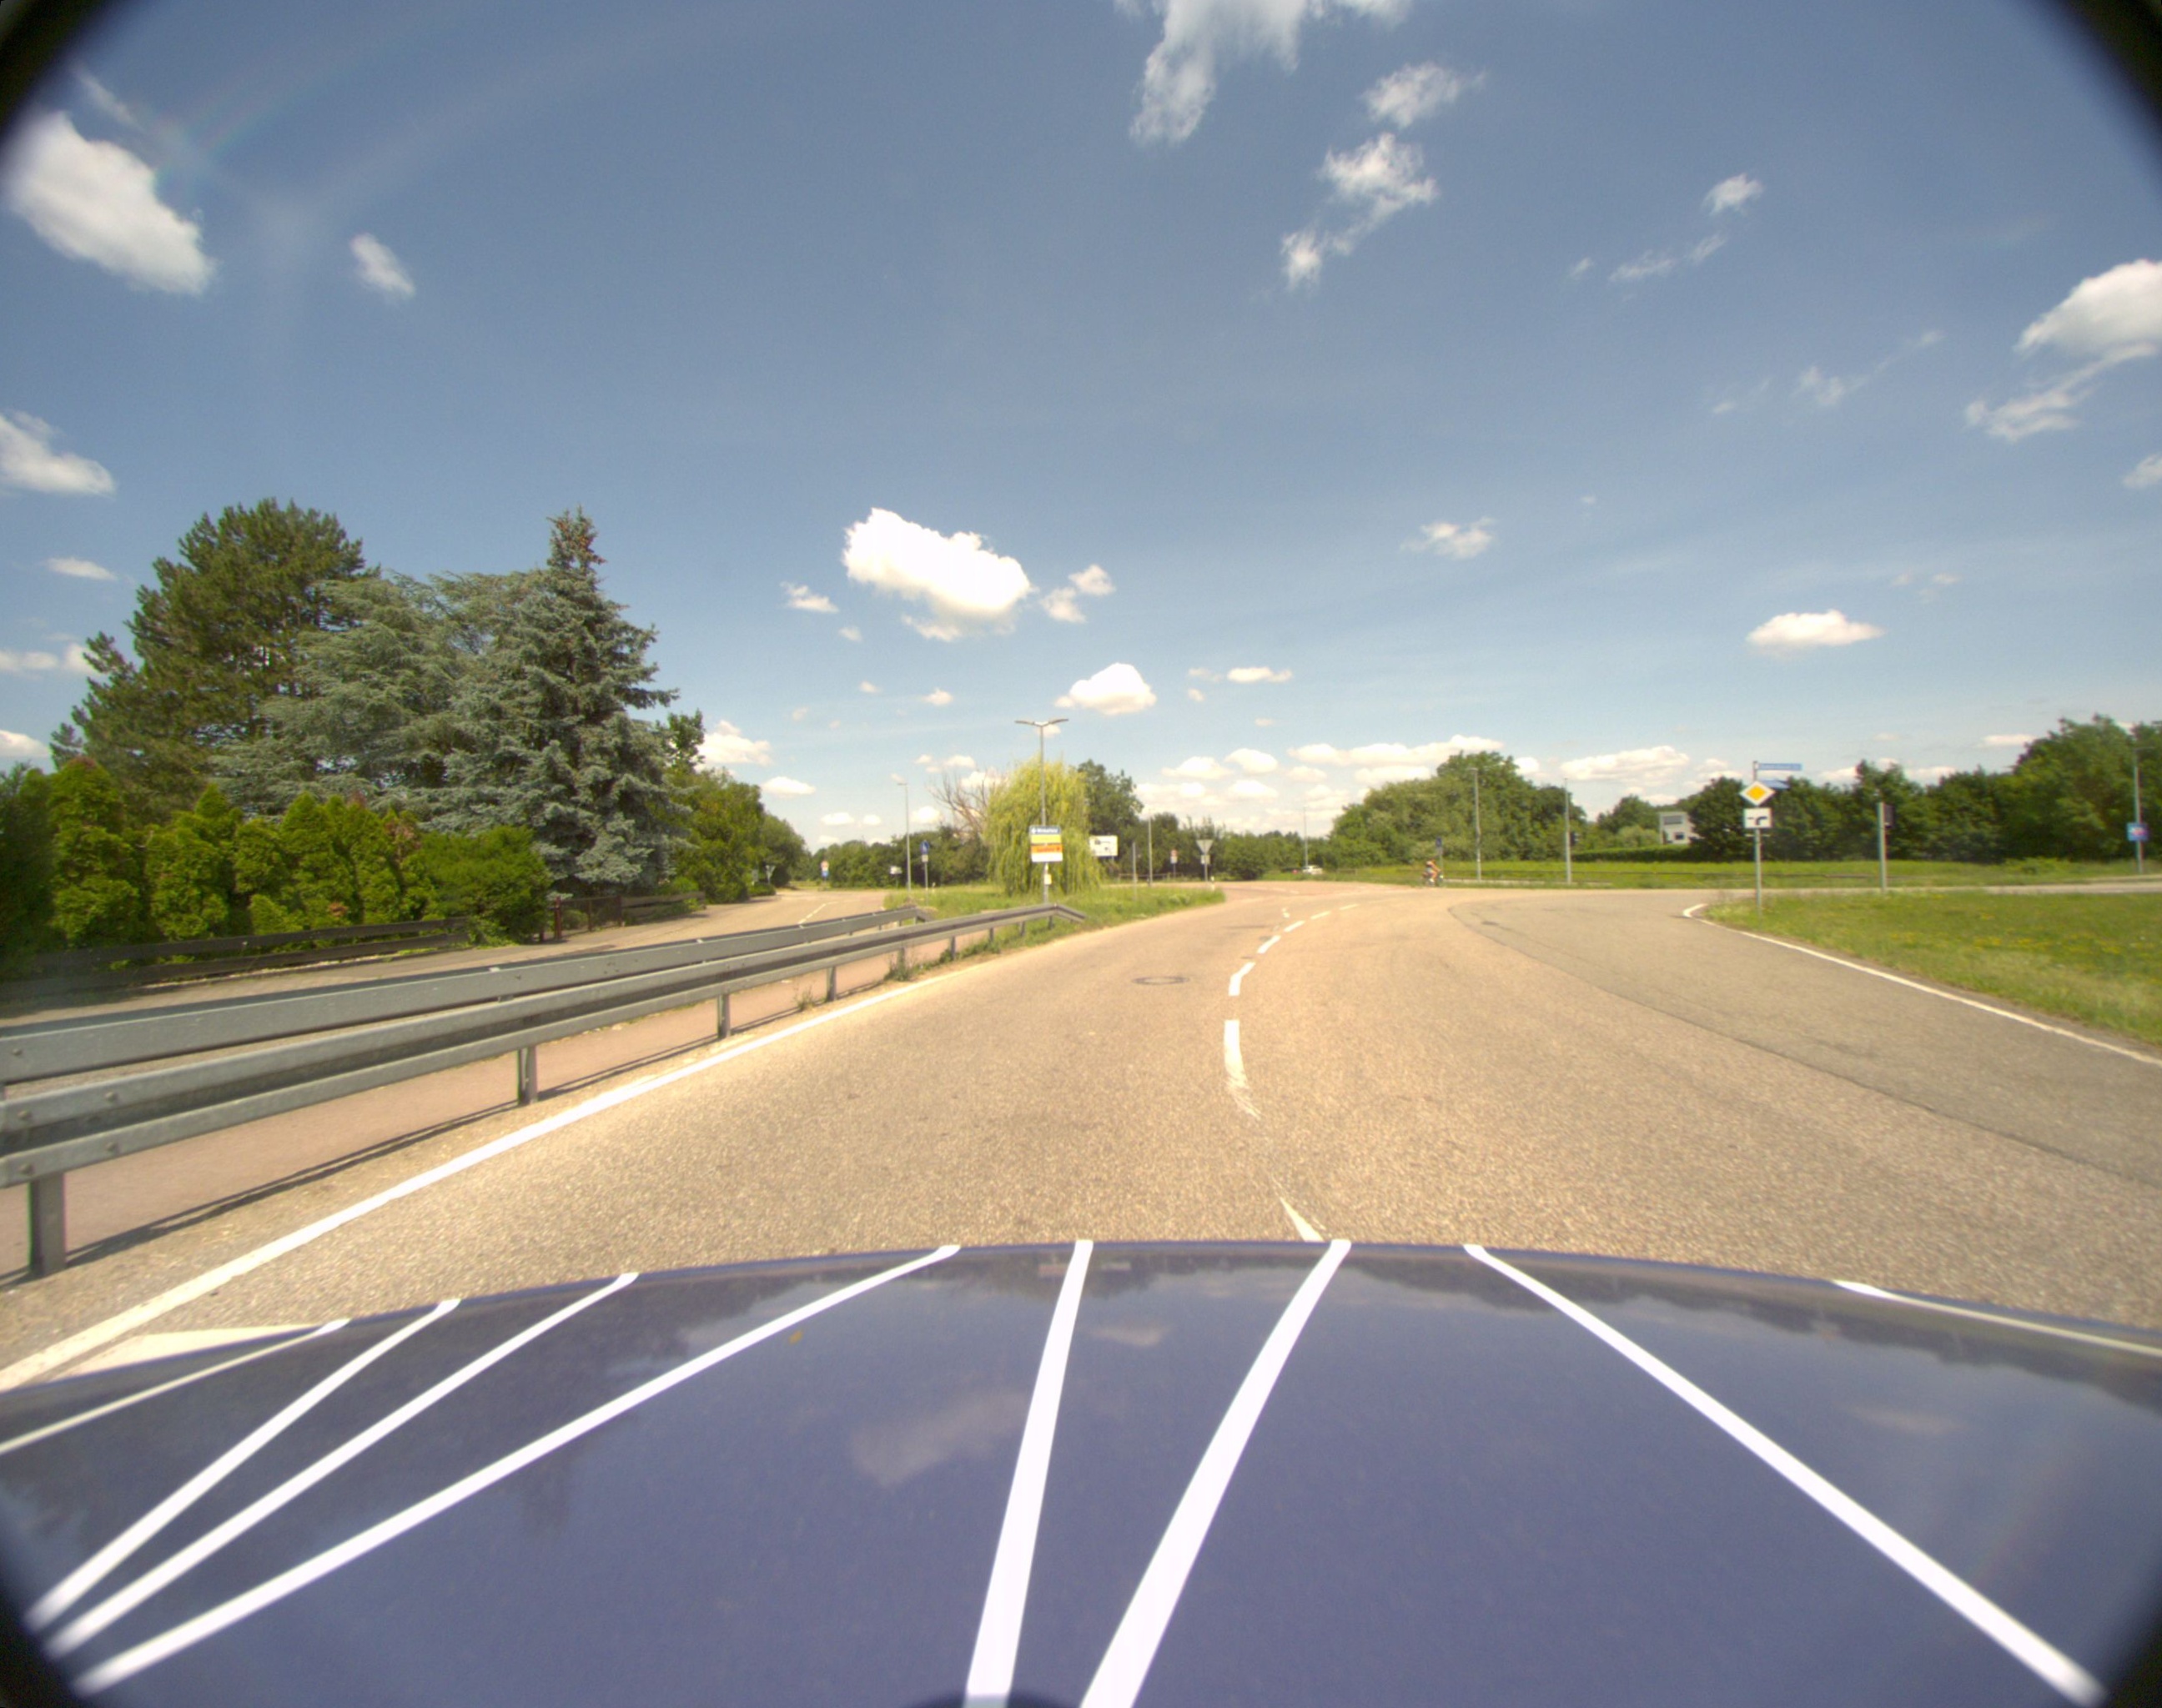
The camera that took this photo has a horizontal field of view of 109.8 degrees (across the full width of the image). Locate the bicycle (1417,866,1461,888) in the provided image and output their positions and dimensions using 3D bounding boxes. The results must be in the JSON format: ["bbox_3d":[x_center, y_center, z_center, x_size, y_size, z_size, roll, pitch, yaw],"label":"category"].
[{"bbox_3d":[20.105,1.281,42.700,2.145,1.158,0.661,-2,-1,1],"label":"bicycle"}]

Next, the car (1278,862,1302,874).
[{"bbox_3d":[25.872,1.720,94.094,1.419,1.329,3.115,-2,-2,-15],"label":"car"}]

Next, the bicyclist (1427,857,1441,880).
[{"bbox_3d":[19.840,0.801,42.695,0.511,1.248,0.469,-2,-1,1],"label":"bicyclist"}]

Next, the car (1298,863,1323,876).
[{"bbox_3d":[28.840,1.977,95.533,1.419,1.495,3.115,-2,-2,-15],"label":"car"}]
